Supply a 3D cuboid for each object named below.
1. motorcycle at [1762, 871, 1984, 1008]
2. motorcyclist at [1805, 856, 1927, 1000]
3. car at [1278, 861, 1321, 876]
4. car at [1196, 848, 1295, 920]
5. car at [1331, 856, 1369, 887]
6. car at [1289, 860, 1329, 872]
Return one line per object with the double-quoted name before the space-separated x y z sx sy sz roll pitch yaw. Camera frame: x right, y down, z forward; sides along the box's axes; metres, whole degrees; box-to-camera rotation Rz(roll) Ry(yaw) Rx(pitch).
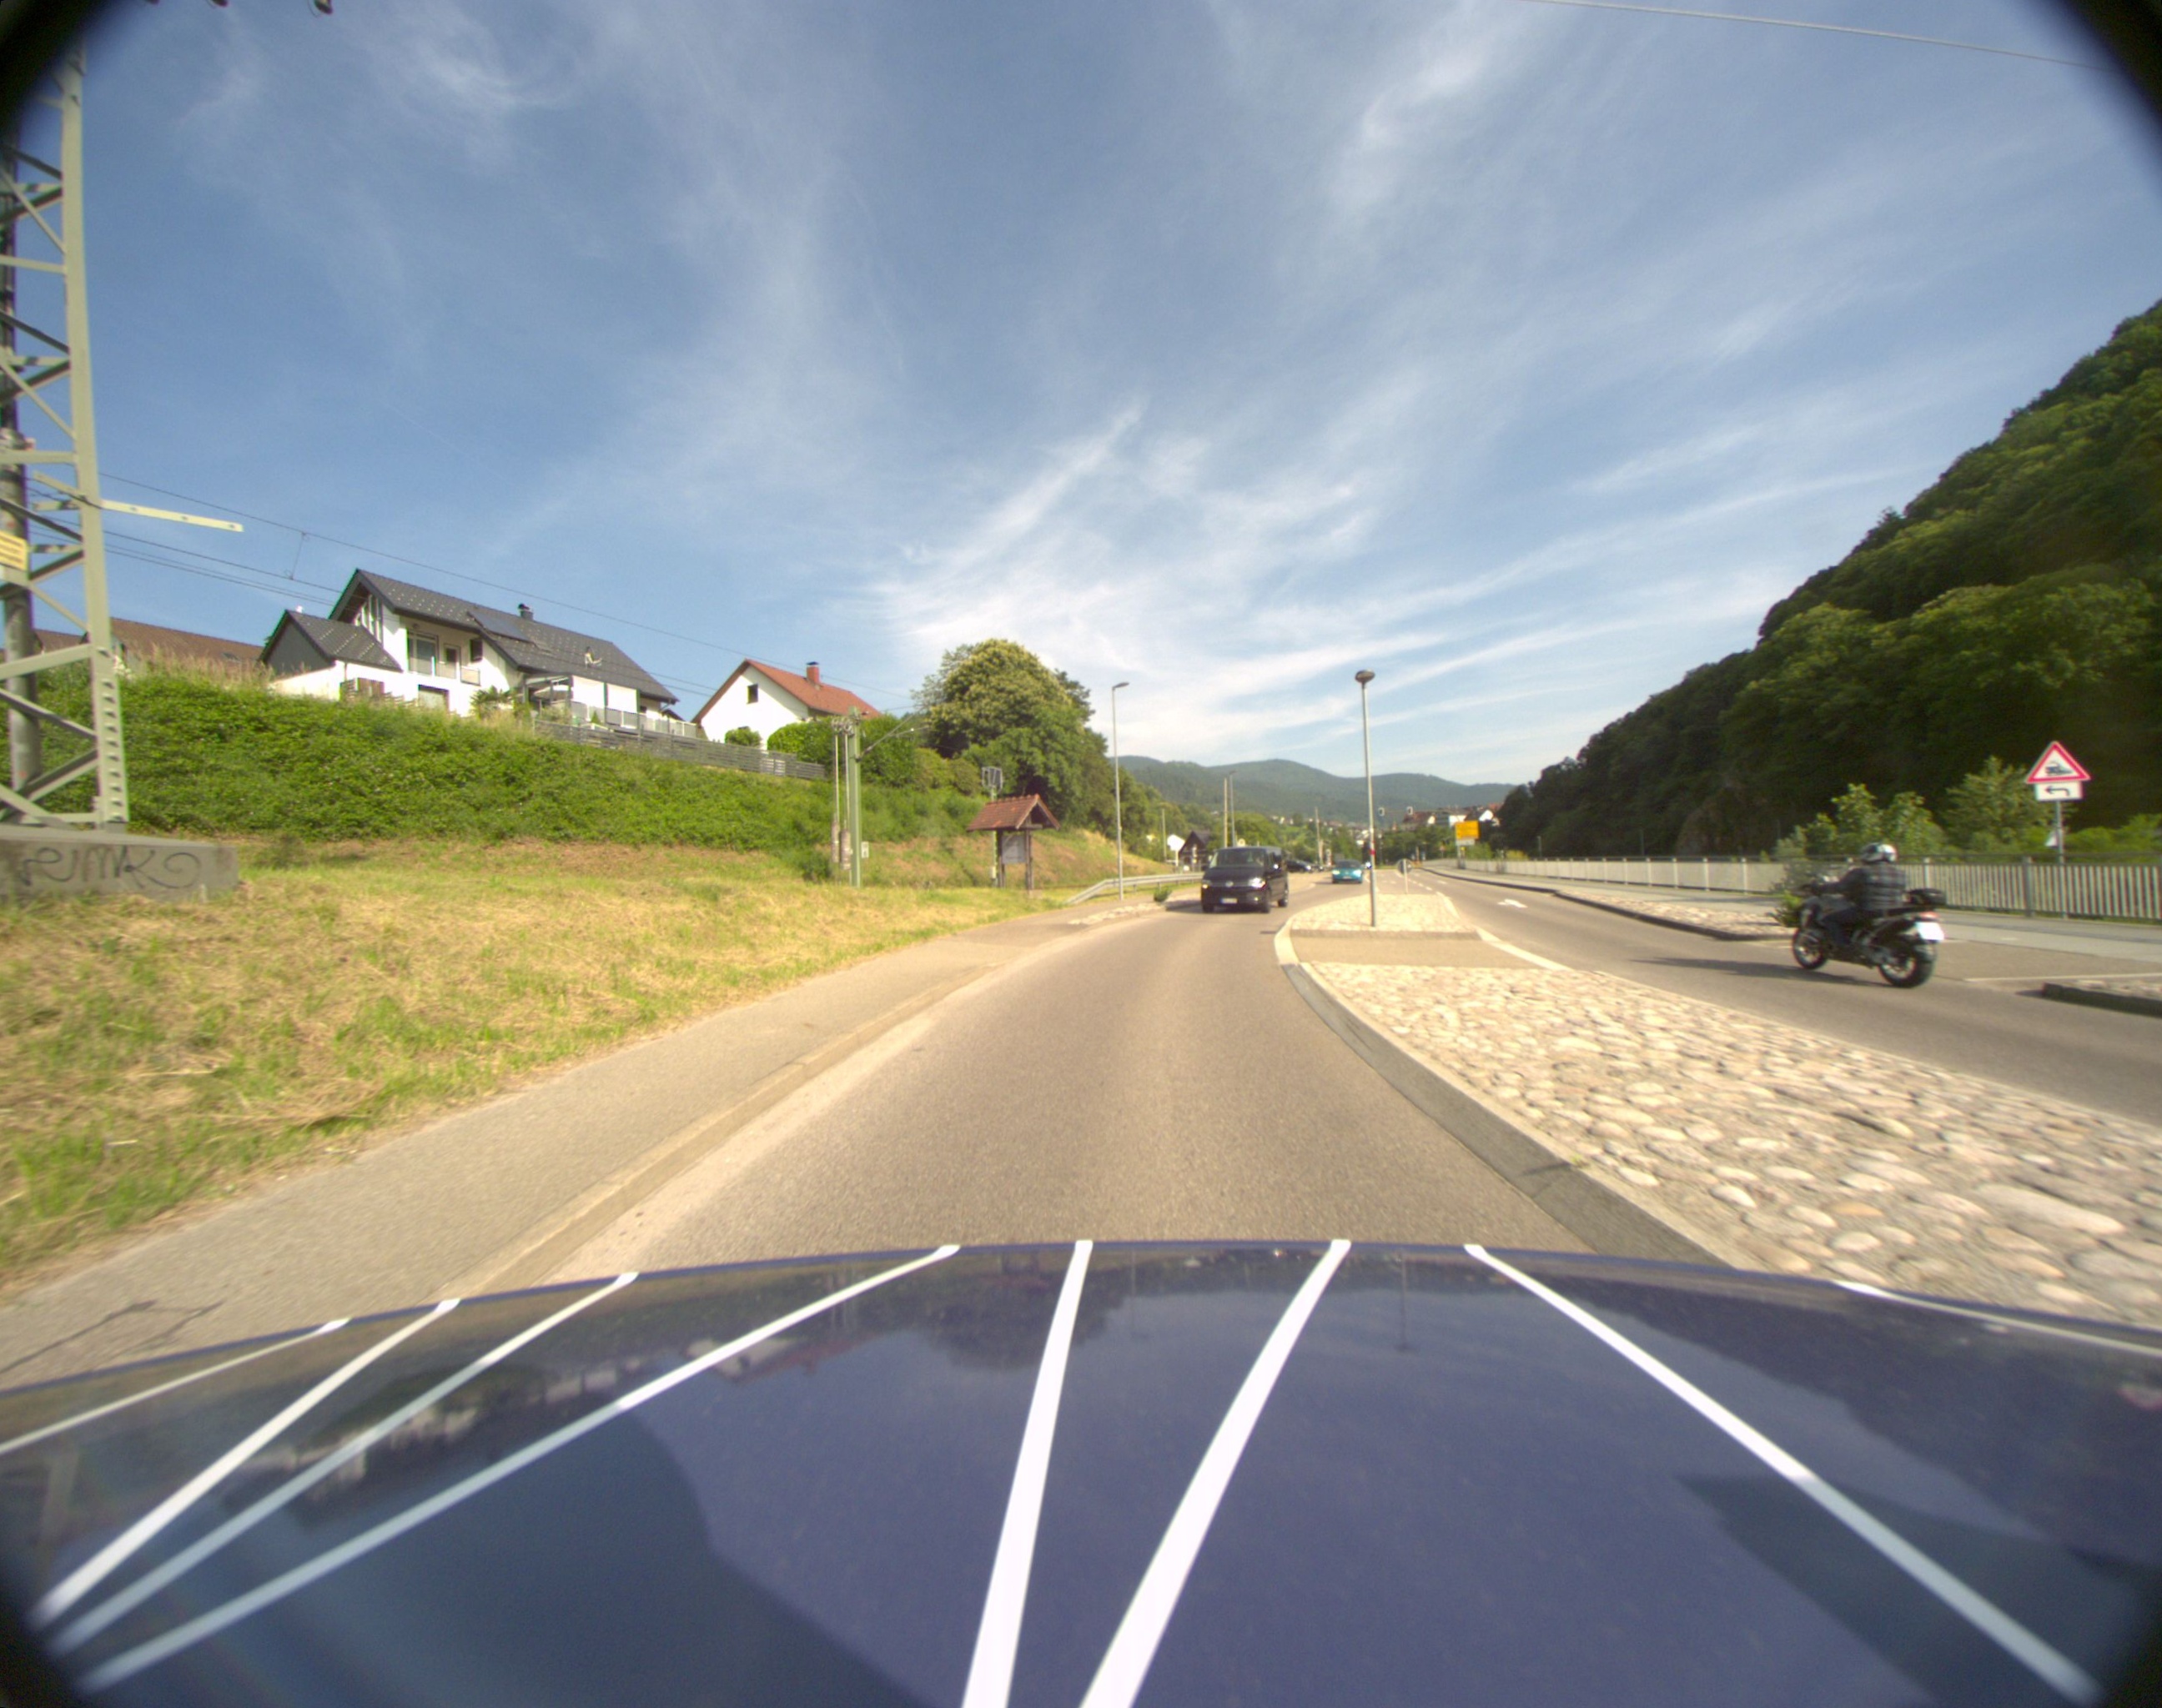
"motorcycle" 9.561 0.948 9.339 0.774 1.414 2.321 -1 0 14
"motorcyclist" 9.562 0.868 9.292 0.764 1.668 0.728 -1 1 15
"car" 26.448 1.770 92.000 1.935 1.649 4.729 5 -4 -37
"car" 5.061 0.793 22.872 1.862 1.936 4.646 0 0 26
"car" 17.446 1.089 49.148 1.880 1.728 4.522 -2 1 25
"car" 29.249 1.501 97.388 4.730 1.461 1.845 -1 0 24
